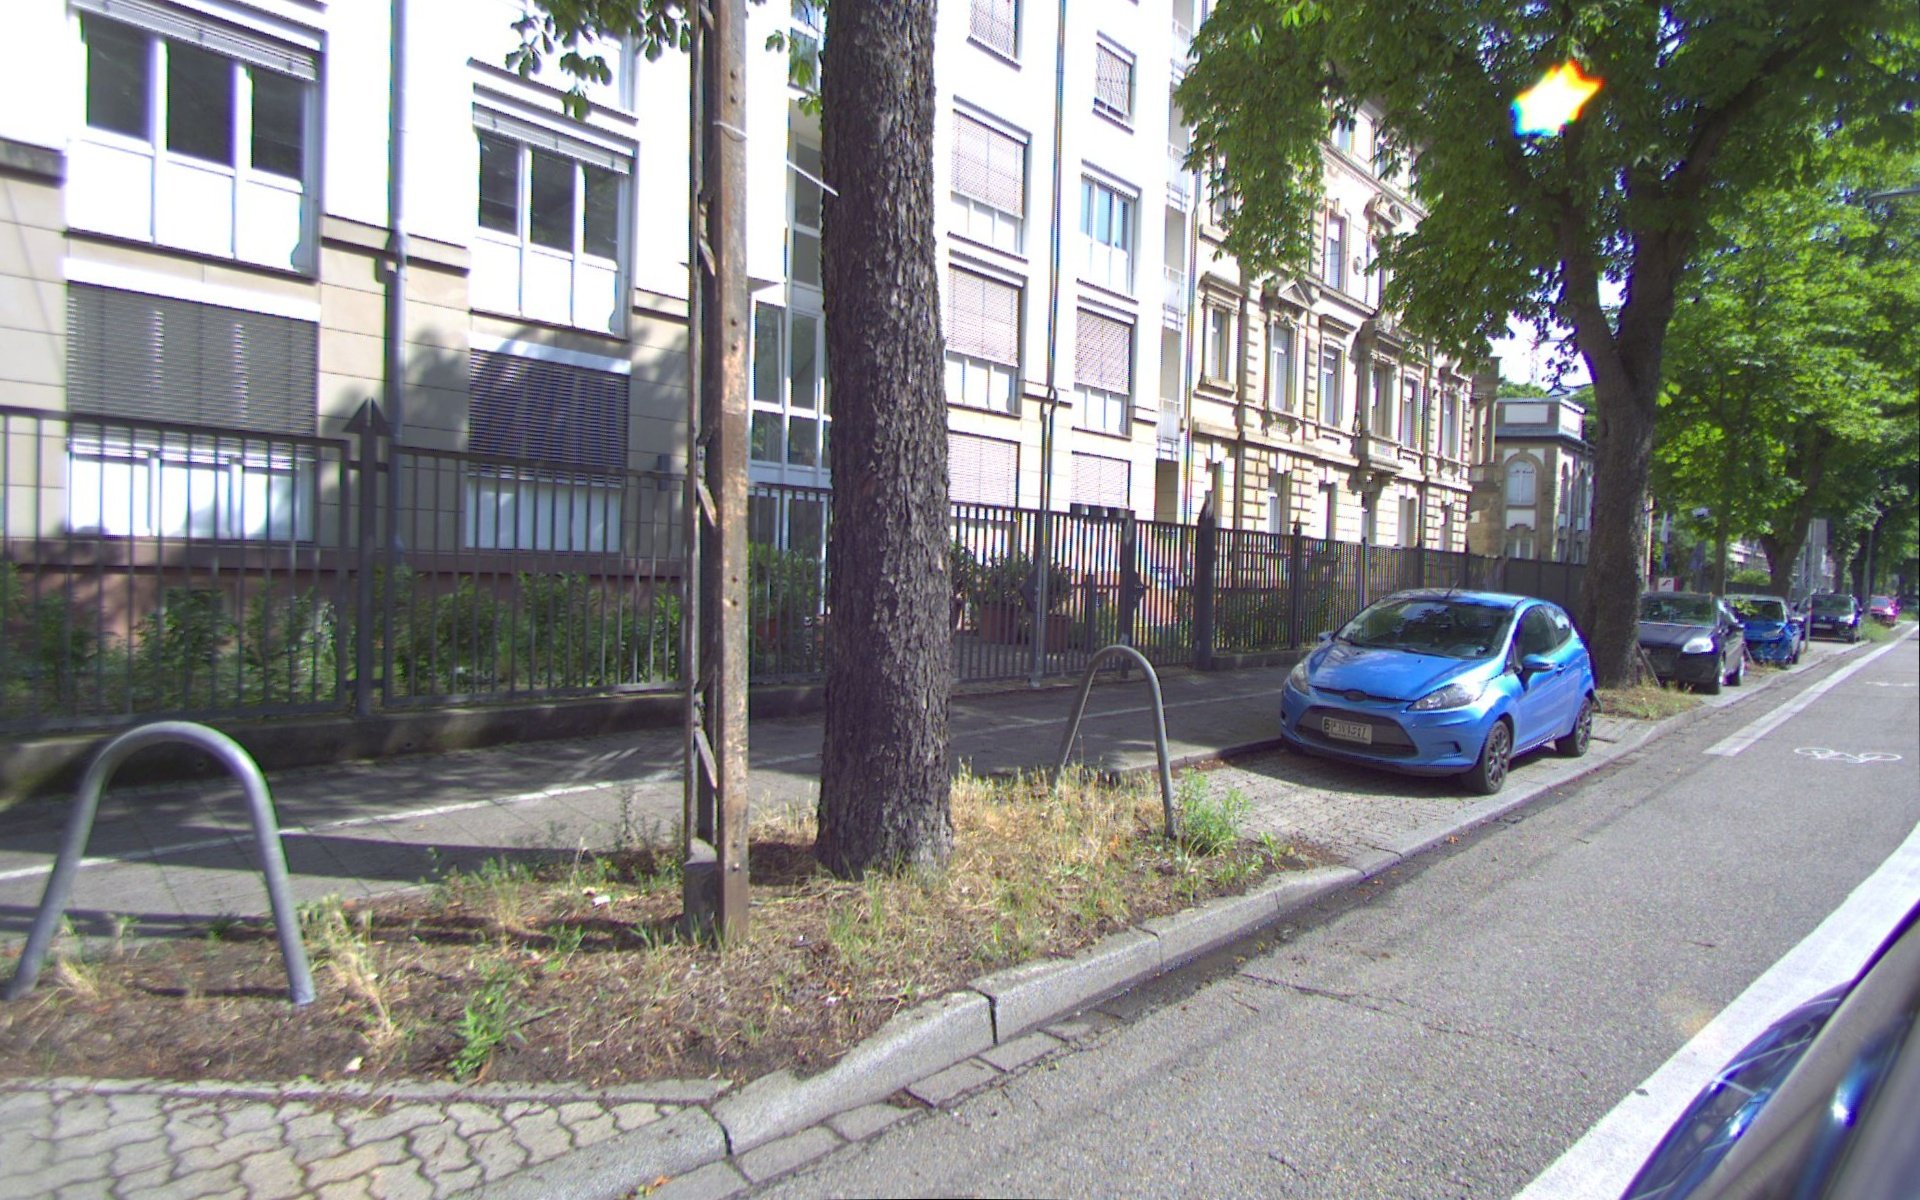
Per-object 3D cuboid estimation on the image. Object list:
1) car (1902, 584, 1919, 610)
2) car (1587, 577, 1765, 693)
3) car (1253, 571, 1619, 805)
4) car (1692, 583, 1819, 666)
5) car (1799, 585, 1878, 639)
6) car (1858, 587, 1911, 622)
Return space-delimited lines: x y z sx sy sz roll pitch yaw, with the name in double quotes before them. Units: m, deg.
"car" 63.856 -0.155 67.167 1.741 1.592 3.868 7 5 44
"car" 11.388 0.465 16.018 1.676 1.493 3.603 7 5 44
"car" 4.252 0.586 8.796 3.601 1.493 1.644 0 5 -45
"car" 17.121 0.459 21.730 1.676 1.493 3.603 7 5 44
"car" 30.102 0.376 34.631 1.741 1.592 3.603 7 5 44
"car" 46.345 0.199 50.718 1.741 1.592 3.868 7 5 44
